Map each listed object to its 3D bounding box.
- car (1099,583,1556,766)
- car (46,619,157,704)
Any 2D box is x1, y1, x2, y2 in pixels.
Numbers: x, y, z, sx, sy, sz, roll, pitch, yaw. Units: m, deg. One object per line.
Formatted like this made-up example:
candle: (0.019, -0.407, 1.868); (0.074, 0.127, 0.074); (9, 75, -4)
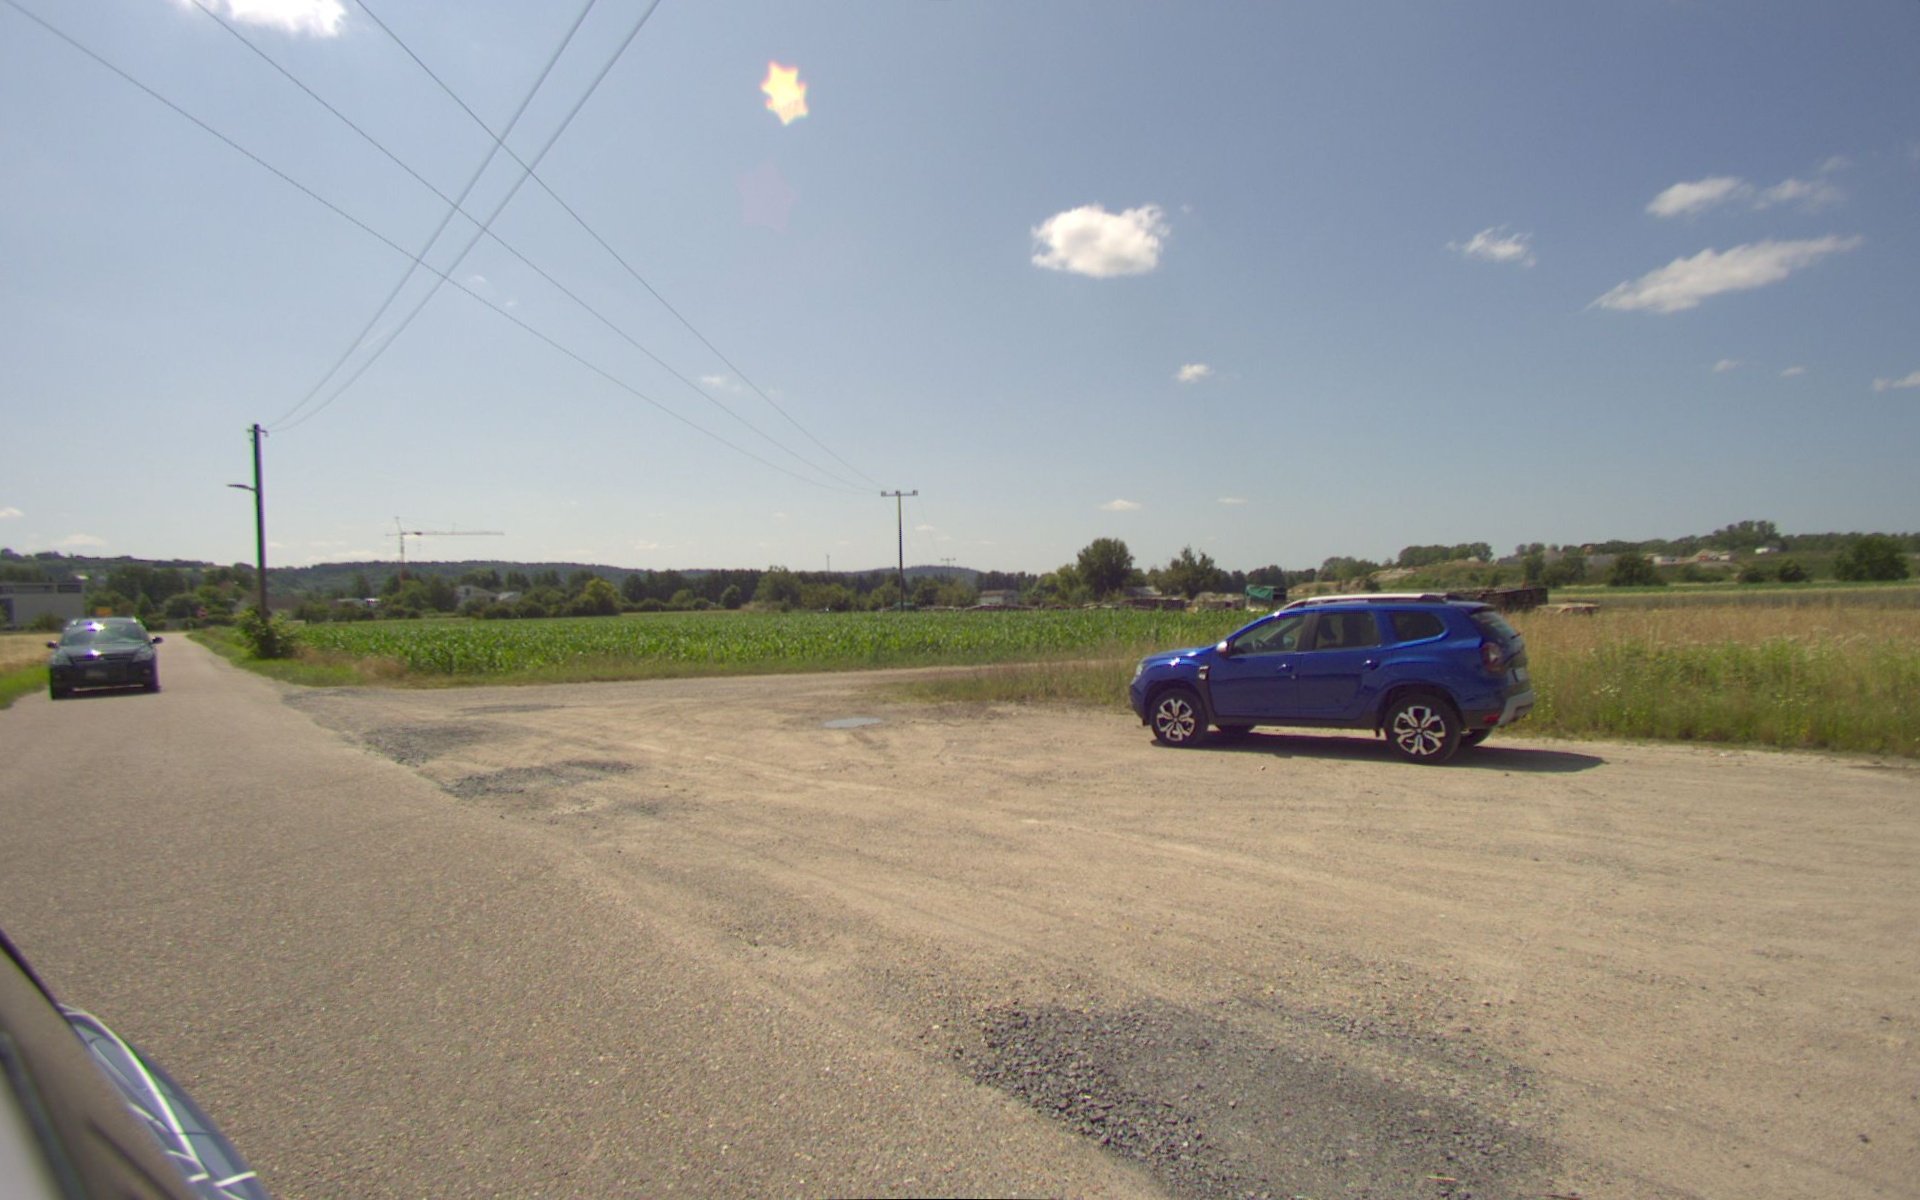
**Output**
car: (3.978, 0.772, 11.410); (4.454, 1.673, 1.840); (-3, -2, 40)
car: (-18.990, 1.298, 22.528); (1.721, 1.692, 4.263); (0, -2, -38)
